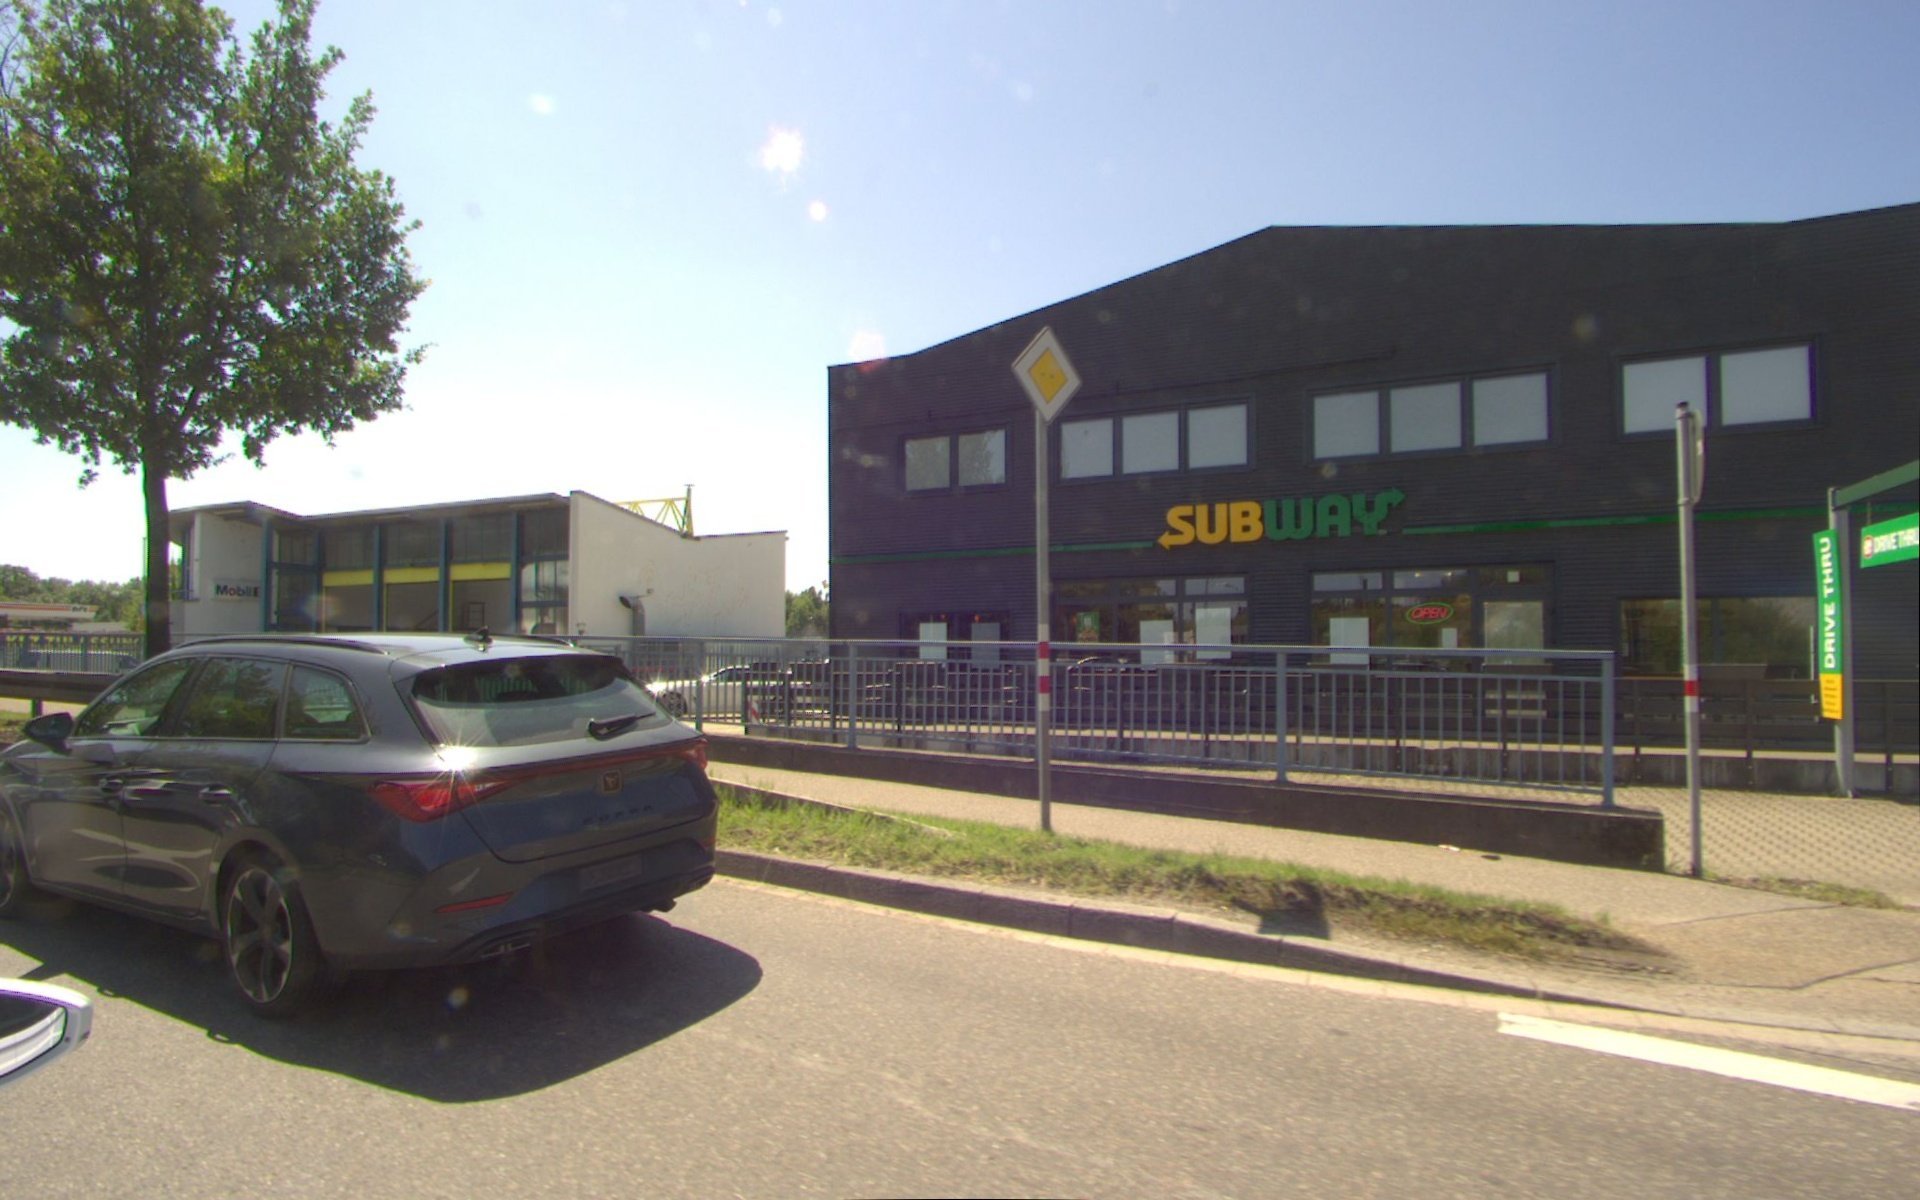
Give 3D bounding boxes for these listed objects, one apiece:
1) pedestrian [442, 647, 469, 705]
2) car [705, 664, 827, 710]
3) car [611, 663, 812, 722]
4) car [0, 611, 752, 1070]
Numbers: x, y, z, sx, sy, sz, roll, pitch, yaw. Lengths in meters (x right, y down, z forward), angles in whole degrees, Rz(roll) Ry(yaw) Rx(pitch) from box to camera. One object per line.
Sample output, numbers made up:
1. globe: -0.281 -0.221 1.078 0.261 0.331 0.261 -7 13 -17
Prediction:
1. pedestrian: -15.045 2.260 29.871 0.480 1.724 0.521 -1 -1 26
2. car: -5.964 2.648 30.790 3.550 1.269 1.477 1 -2 -17
3. car: -6.730 2.449 27.165 5.004 1.375 1.993 1 -2 -26
4. car: -3.158 0.840 4.985 4.172 1.474 1.603 -1 -2 30
